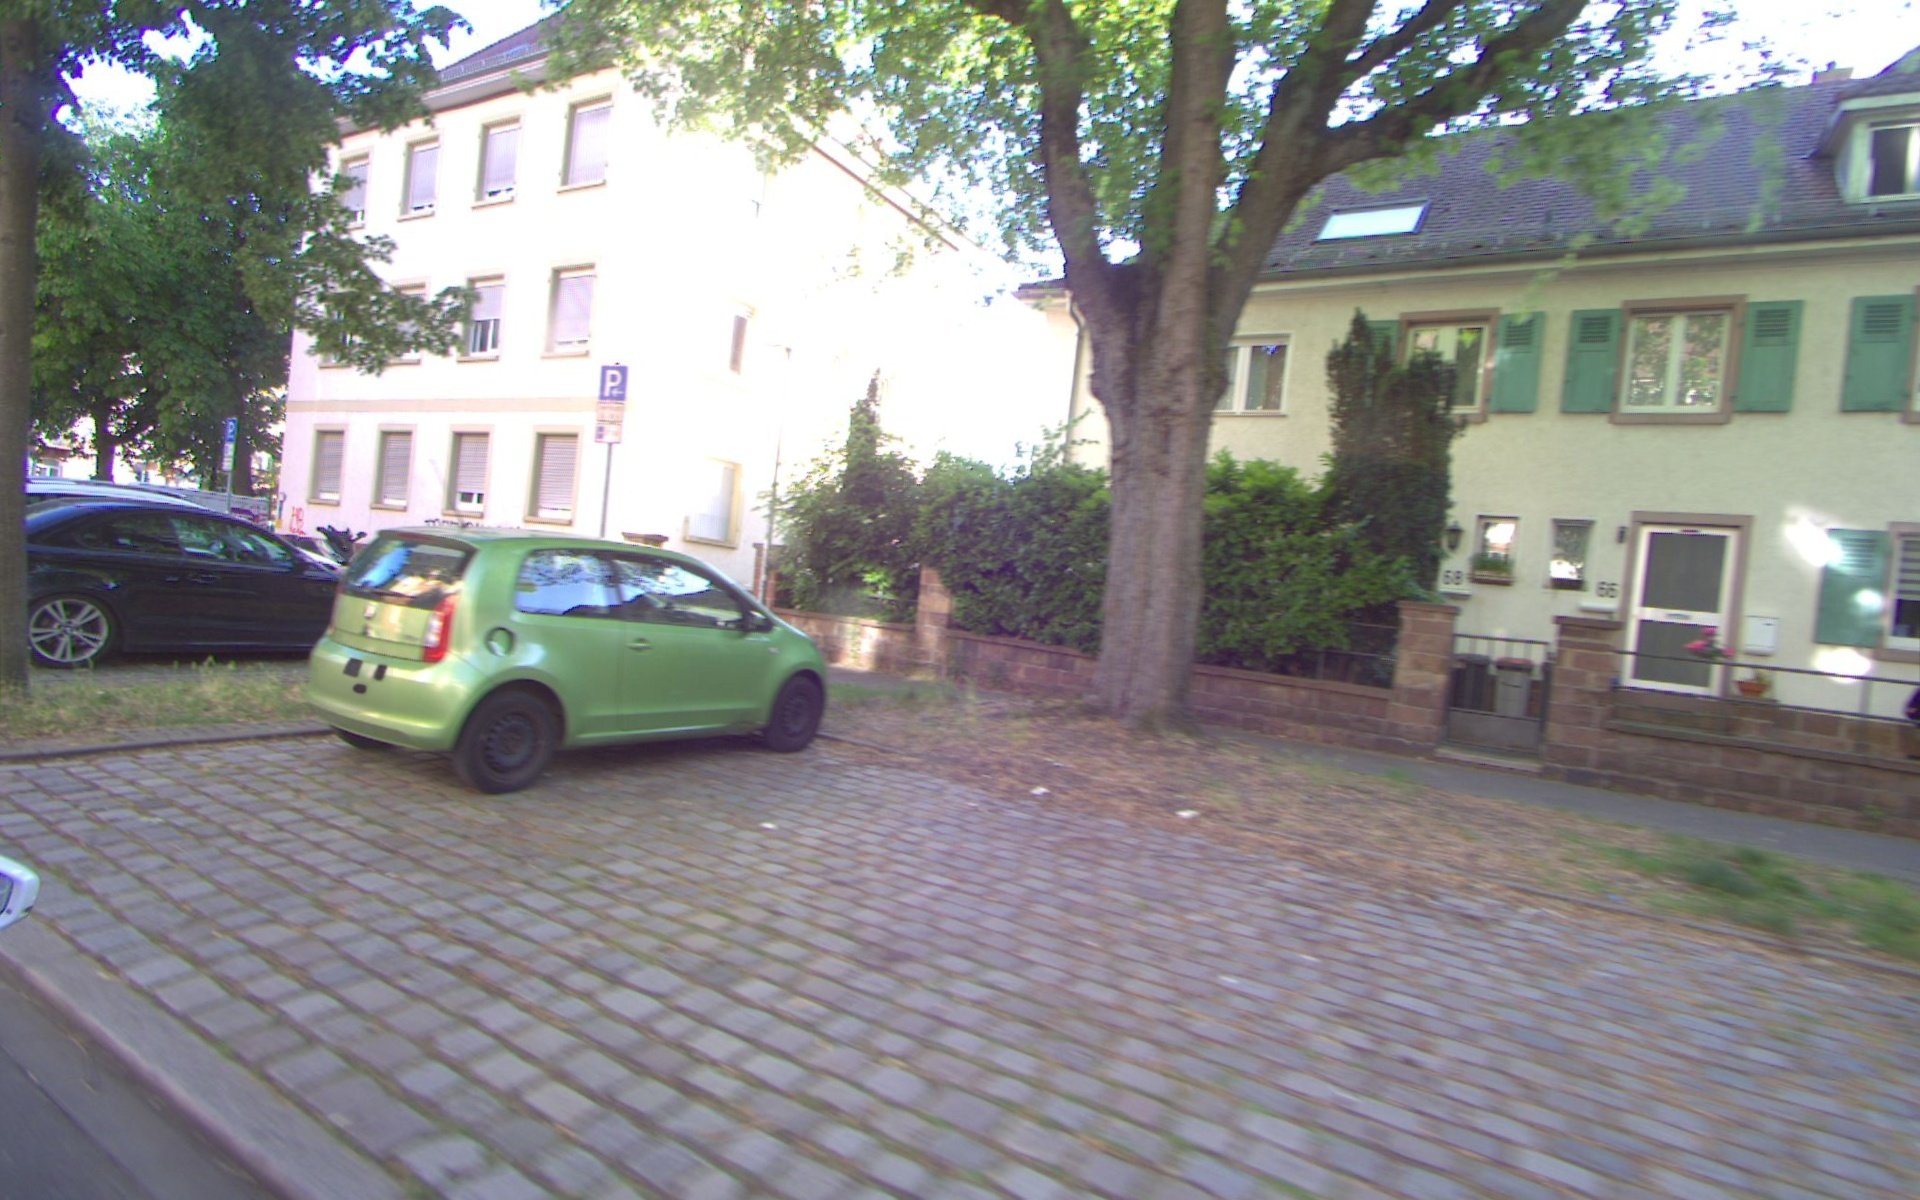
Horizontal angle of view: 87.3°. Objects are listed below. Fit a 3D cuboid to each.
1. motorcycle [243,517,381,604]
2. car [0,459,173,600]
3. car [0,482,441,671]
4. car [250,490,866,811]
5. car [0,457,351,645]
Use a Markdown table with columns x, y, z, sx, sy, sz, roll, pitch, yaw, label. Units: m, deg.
| x | y | z | sx | sy | sz | roll | pitch | yaw | label |
| --- | --- | --- | --- | --- | --- | --- | --- | --- | --- |
| -11.660 | -0.705 | 18.100 | 2.143 | 1.296 | 0.977 | 7 | 1 | 23 | motorcycle |
| -13.191 | -1.046 | 13.101 | 1.988 | 1.735 | 4.112 | 7 | 1 | 27 | car |
| -7.280 | -0.227 | 9.233 | 1.762 | 1.431 | 4.104 | 7 | 2 | 31 | car |
| -2.464 | 0.274 | 6.958 | 1.650 | 1.525 | 3.590 | 7 | 2 | 32 | car |
| -9.087 | -0.495 | 11.009 | 1.677 | 1.671 | 3.694 | 7 | 0 | 35 | car |
